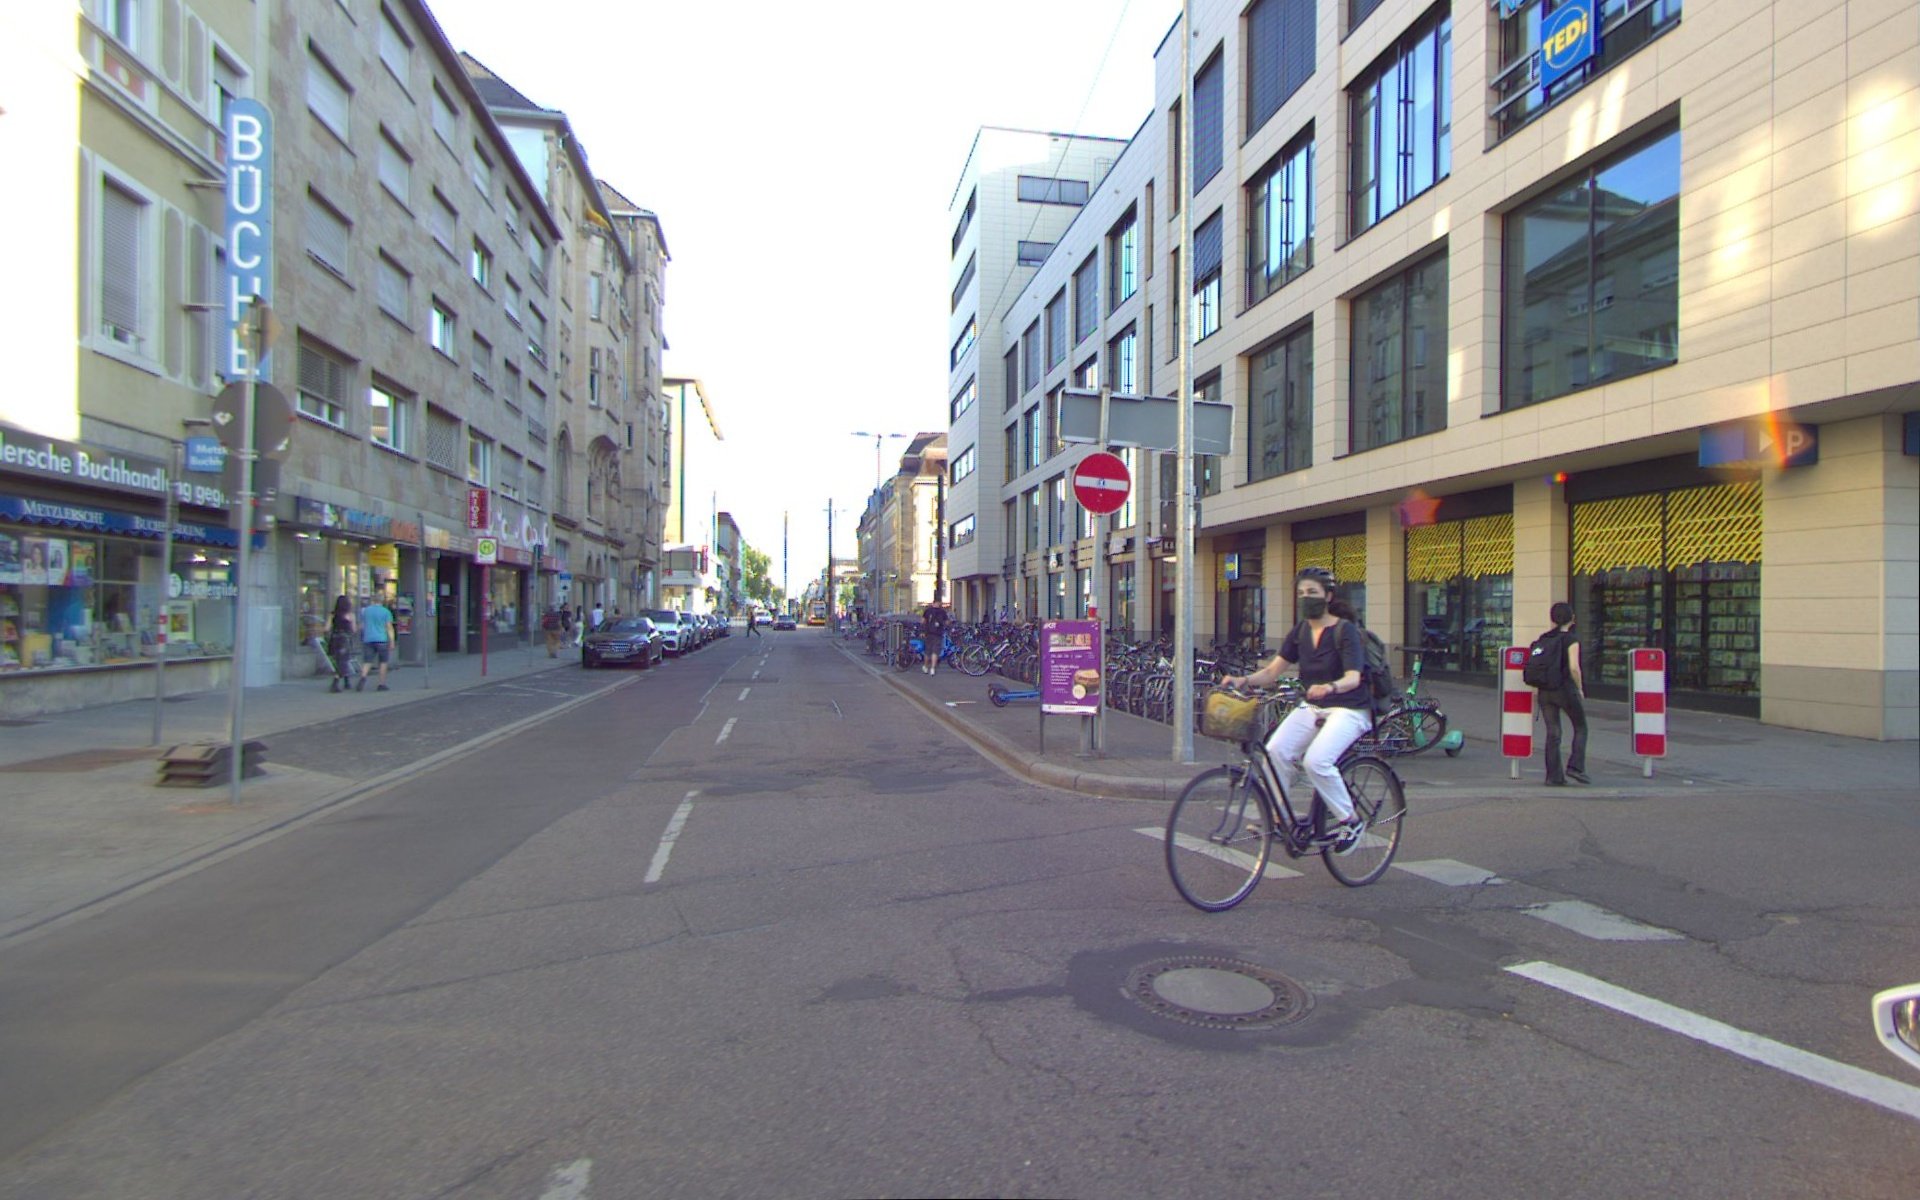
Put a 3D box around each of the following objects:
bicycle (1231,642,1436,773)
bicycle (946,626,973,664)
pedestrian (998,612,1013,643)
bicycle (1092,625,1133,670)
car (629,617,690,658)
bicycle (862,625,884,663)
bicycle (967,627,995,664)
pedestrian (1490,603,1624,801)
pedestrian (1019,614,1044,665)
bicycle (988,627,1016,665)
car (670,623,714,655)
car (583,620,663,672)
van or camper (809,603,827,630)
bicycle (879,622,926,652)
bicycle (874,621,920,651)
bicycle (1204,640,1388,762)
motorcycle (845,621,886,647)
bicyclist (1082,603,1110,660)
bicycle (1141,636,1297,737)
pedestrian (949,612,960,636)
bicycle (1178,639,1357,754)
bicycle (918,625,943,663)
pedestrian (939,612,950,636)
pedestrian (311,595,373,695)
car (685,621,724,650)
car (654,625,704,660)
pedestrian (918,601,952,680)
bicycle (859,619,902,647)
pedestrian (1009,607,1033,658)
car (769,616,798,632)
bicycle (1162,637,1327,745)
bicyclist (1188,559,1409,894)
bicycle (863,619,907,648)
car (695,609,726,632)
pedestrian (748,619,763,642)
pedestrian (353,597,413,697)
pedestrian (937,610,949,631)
[{"bbox_3d":[3.885,1.105,10.468,2.009,1.271,0.581,2,0,-14],"label":"bicycle"},{"bbox_3d":[-0.029,1.588,35.857,0.504,1.271,1.974,1,-1,-12],"label":"bicycle"},{"bbox_3d":[2.519,1.548,55.958,0.672,1.718,0.643,1,0,-11],"label":"pedestrian"},{"bbox_3d":[4.626,1.431,30.509,0.601,1.271,1.975,1,-1,-10],"label":"bicycle"},{"bbox_3d":[-11.174,1.358,37.588,1.831,1.409,4.612,1,-1,-13],"label":"car"},{"bbox_3d":[-3.036,1.515,35.008,0.504,1.271,1.974,1,-1,-12],"label":"bicycle"},{"bbox_3d":[0.736,1.608,35.918,0.504,1.271,1.974,1,-1,-12],"label":"bicycle"},{"bbox_3d":[5.329,0.878,8.978,0.859,1.680,0.616,1,0,-20],"label":"pedestrian"},{"bbox_3d":[2.406,1.320,33.792,0.672,1.718,0.643,1,0,-11],"label":"pedestrian"},{"bbox_3d":[1.484,1.632,36.119,0.504,1.271,1.974,1,-1,-12],"label":"bicycle"},{"bbox_3d":[-12.651,1.812,47.664,1.831,1.409,3.990,1,-1,-13],"label":"car"},{"bbox_3d":[-9.924,1.314,29.823,1.831,1.409,3.990,1,-1,-13],"label":"car"},{"bbox_3d":[-17.861,2.082,126.559,1.962,3.317,5.160,1,-1,-4],"label":"van or camper"},{"bbox_3d":[-2.473,1.605,43.434,1.948,1.271,0.511,2,0,-19],"label":"bicycle"},{"bbox_3d":[-2.780,1.586,44.256,1.948,1.271,0.511,2,0,-19],"label":"bicycle"},{"bbox_3d":[3.708,1.103,11.082,1.945,1.271,0.512,2,0,-14],"label":"bicycle"},{"bbox_3d":[-4.714,1.701,50.309,1.948,1.271,0.511,2,0,-19],"label":"motorcycle"},{"bbox_3d":[4.166,0.947,30.711,0.672,1.718,0.643,1,0,-10],"label":"bicyclist"},{"bbox_3d":[3.409,1.137,13.230,1.945,1.271,0.512,2,0,-13],"label":"bicycle"},{"bbox_3d":[-0.380,1.736,73.386,0.672,1.718,0.643,1,0,-11],"label":"pedestrian"},{"bbox_3d":[3.573,1.117,11.691,1.943,1.271,0.512,2,0,-10],"label":"bicycle"},{"bbox_3d":[-1.064,1.552,35.690,0.504,1.271,1.974,1,-1,-12],"label":"bicycle"},{"bbox_3d":[-1.110,1.733,72.959,0.672,1.683,0.643,1,0,-11],"label":"pedestrian"},{"bbox_3d":[-10.922,0.789,17.779,0.653,1.730,0.802,1,-1,-10],"label":"pedestrian"},{"bbox_3d":[-13.244,1.830,52.297,1.831,1.409,3.990,1,-1,-13],"label":"car"},{"bbox_3d":[-12.033,1.791,43.177,1.831,1.409,3.990,1,-1,-13],"label":"car"},{"bbox_3d":[-0.557,0.887,22.271,0.671,1.718,0.643,1,0,-7],"label":"pedestrian"},{"bbox_3d":[-3.760,1.568,47.512,1.948,1.271,0.511,2,0,-19],"label":"bicycle"},{"bbox_3d":[2.078,1.118,34.502,0.672,1.718,0.643,1,0,-11],"label":"pedestrian"},{"bbox_3d":[-15.808,2.099,89.816,1.968,1.372,3.984,1,-1,-18],"label":"car"},{"bbox_3d":[3.523,1.124,12.451,1.944,1.271,0.512,2,0,-12],"label":"bicycle"},{"bbox_3d":[1.755,0.611,5.243,0.851,1.591,0.656,2,0,-25],"label":"bicyclist"},{"bbox_3d":[-3.484,1.563,46.479,1.948,1.271,0.511,2,0,-19],"label":"bicycle"},{"bbox_3d":[-16.093,1.320,65.028,1.831,1.409,3.990,1,-1,-13],"label":"car"},{"bbox_3d":[-12.756,1.882,62.614,0.907,1.447,0.401,1,-1,-15],"label":"pedestrian"},{"bbox_3d":[-10.251,0.822,17.864,0.653,1.730,0.802,1,-1,-10],"label":"pedestrian"},{"bbox_3d":[-1.156,1.389,69.019,0.672,1.444,0.643,1,0,-11],"label":"pedestrian"}]
